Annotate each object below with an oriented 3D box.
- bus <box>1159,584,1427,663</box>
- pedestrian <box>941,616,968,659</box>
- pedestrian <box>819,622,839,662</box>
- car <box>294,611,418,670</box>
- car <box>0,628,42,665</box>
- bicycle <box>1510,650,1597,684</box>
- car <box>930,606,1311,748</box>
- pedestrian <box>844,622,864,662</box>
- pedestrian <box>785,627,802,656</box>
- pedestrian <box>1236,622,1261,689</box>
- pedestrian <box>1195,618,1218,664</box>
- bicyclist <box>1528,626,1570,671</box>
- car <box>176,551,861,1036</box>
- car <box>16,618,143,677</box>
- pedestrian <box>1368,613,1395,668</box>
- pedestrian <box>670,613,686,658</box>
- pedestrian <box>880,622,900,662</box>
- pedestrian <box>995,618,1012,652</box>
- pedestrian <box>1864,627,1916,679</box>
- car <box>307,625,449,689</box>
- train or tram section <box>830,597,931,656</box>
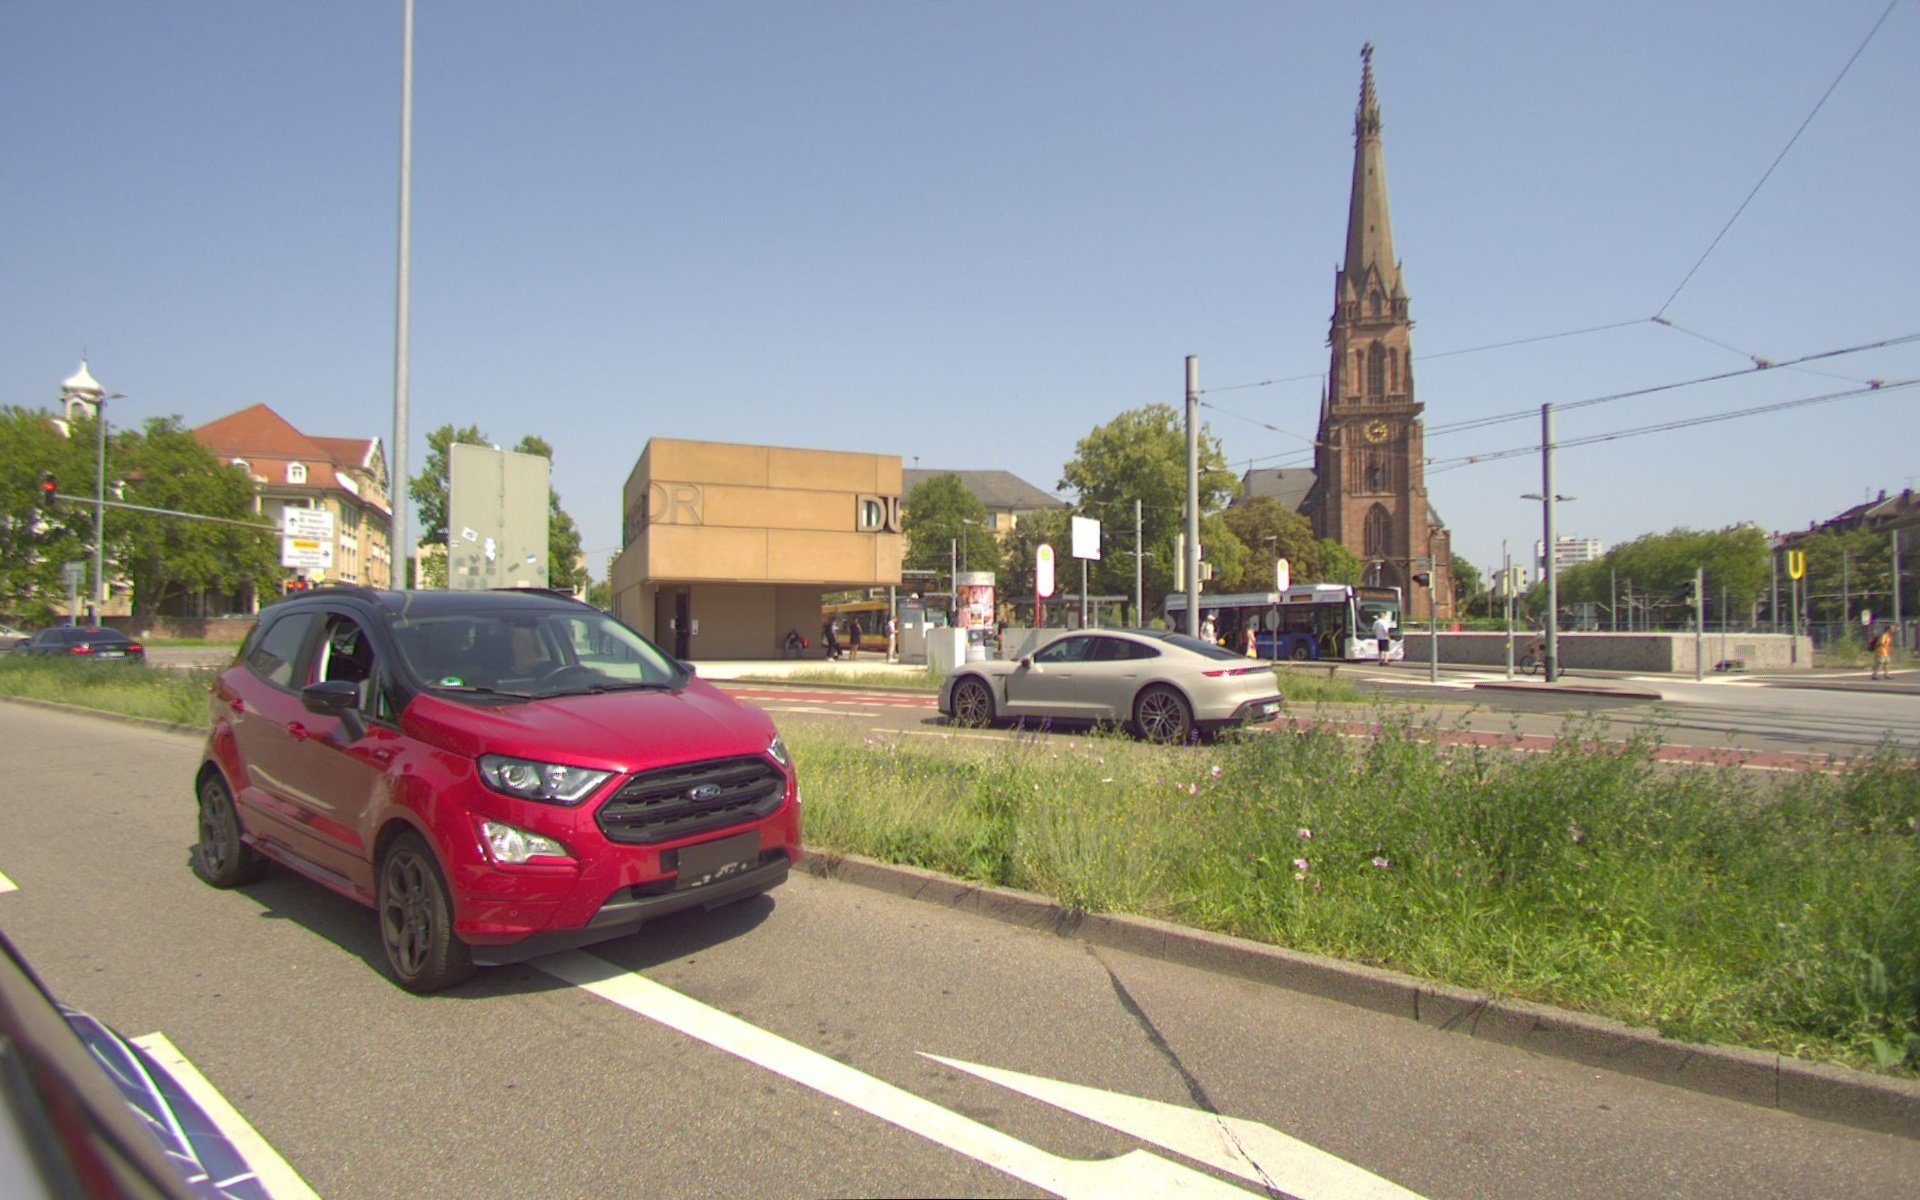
[{"bbox_3d":[13.020,1.022,41.696,3.346,2.733,12.382,1,-2,-21],"label":"bus"},{"bbox_3d":[-0.183,1.332,35.786,0.605,1.508,0.761,-1,-3,39],"label":"pedestrian"},{"bbox_3d":[-4.917,1.566,37.940,0.541,1.508,0.532,-1,-3,39],"label":"pedestrian"},{"bbox_3d":[-20.431,1.340,34.236,3.898,1.868,1.851,0,-2,28],"label":"car"},{"bbox_3d":[-42.624,2.022,43.979,1.800,1.630,3.942,-2,-3,44],"label":"car"},{"bbox_3d":[19.851,2.228,33.916,0.945,1.050,2.369,1,-2,-25],"label":"bicycle"},{"bbox_3d":[2.051,0.941,13.645,4.706,1.597,1.976,-1,-2,36],"label":"car"},{"bbox_3d":[-4.073,1.603,38.743,0.541,1.508,0.532,-1,-3,39],"label":"pedestrian"},{"bbox_3d":[-6.422,1.610,38.999,0.530,1.108,0.543,1,-2,-19],"label":"pedestrian"},{"bbox_3d":[7.997,1.524,28.086,0.632,1.825,0.599,-1,0,15],"label":"pedestrian"},{"bbox_3d":[9.337,1.535,38.379,0.527,1.724,0.695,1,-2,-27],"label":"pedestrian"},{"bbox_3d":[19.815,1.615,34.064,0.644,1.438,1.012,-1,0,-24],"label":"bicyclist"},{"bbox_3d":[-2.473,0.674,5.219,3.841,1.598,1.673,-2,-1,39],"label":"car"},{"bbox_3d":[-22.887,1.208,26.296,3.465,1.437,1.510,-1,-2,32],"label":"car"},{"bbox_3d":[14.341,1.357,34.404,0.592,1.825,0.639,-1,0,-42],"label":"pedestrian"},{"bbox_3d":[-10.276,1.286,36.836,0.532,1.637,0.690,1,-2,-15],"label":"pedestrian"},{"bbox_3d":[-2.666,1.598,38.787,0.541,1.508,0.532,-1,-3,39],"label":"pedestrian"},{"bbox_3d":[2.336,1.882,54.556,0.792,1.837,0.535,1,-2,-22],"label":"pedestrian"},{"bbox_3d":[27.977,1.587,30.453,0.848,1.555,0.742,0,-2,7],"label":"pedestrian"},{"bbox_3d":[-14.470,1.371,25.140,3.463,1.490,1.511,-1,-2,30],"label":"car"},{"bbox_3d":[-5.460,1.791,66.038,2.658,3.465,13.464,1,-2,-22],"label":"train or tram section"}]
